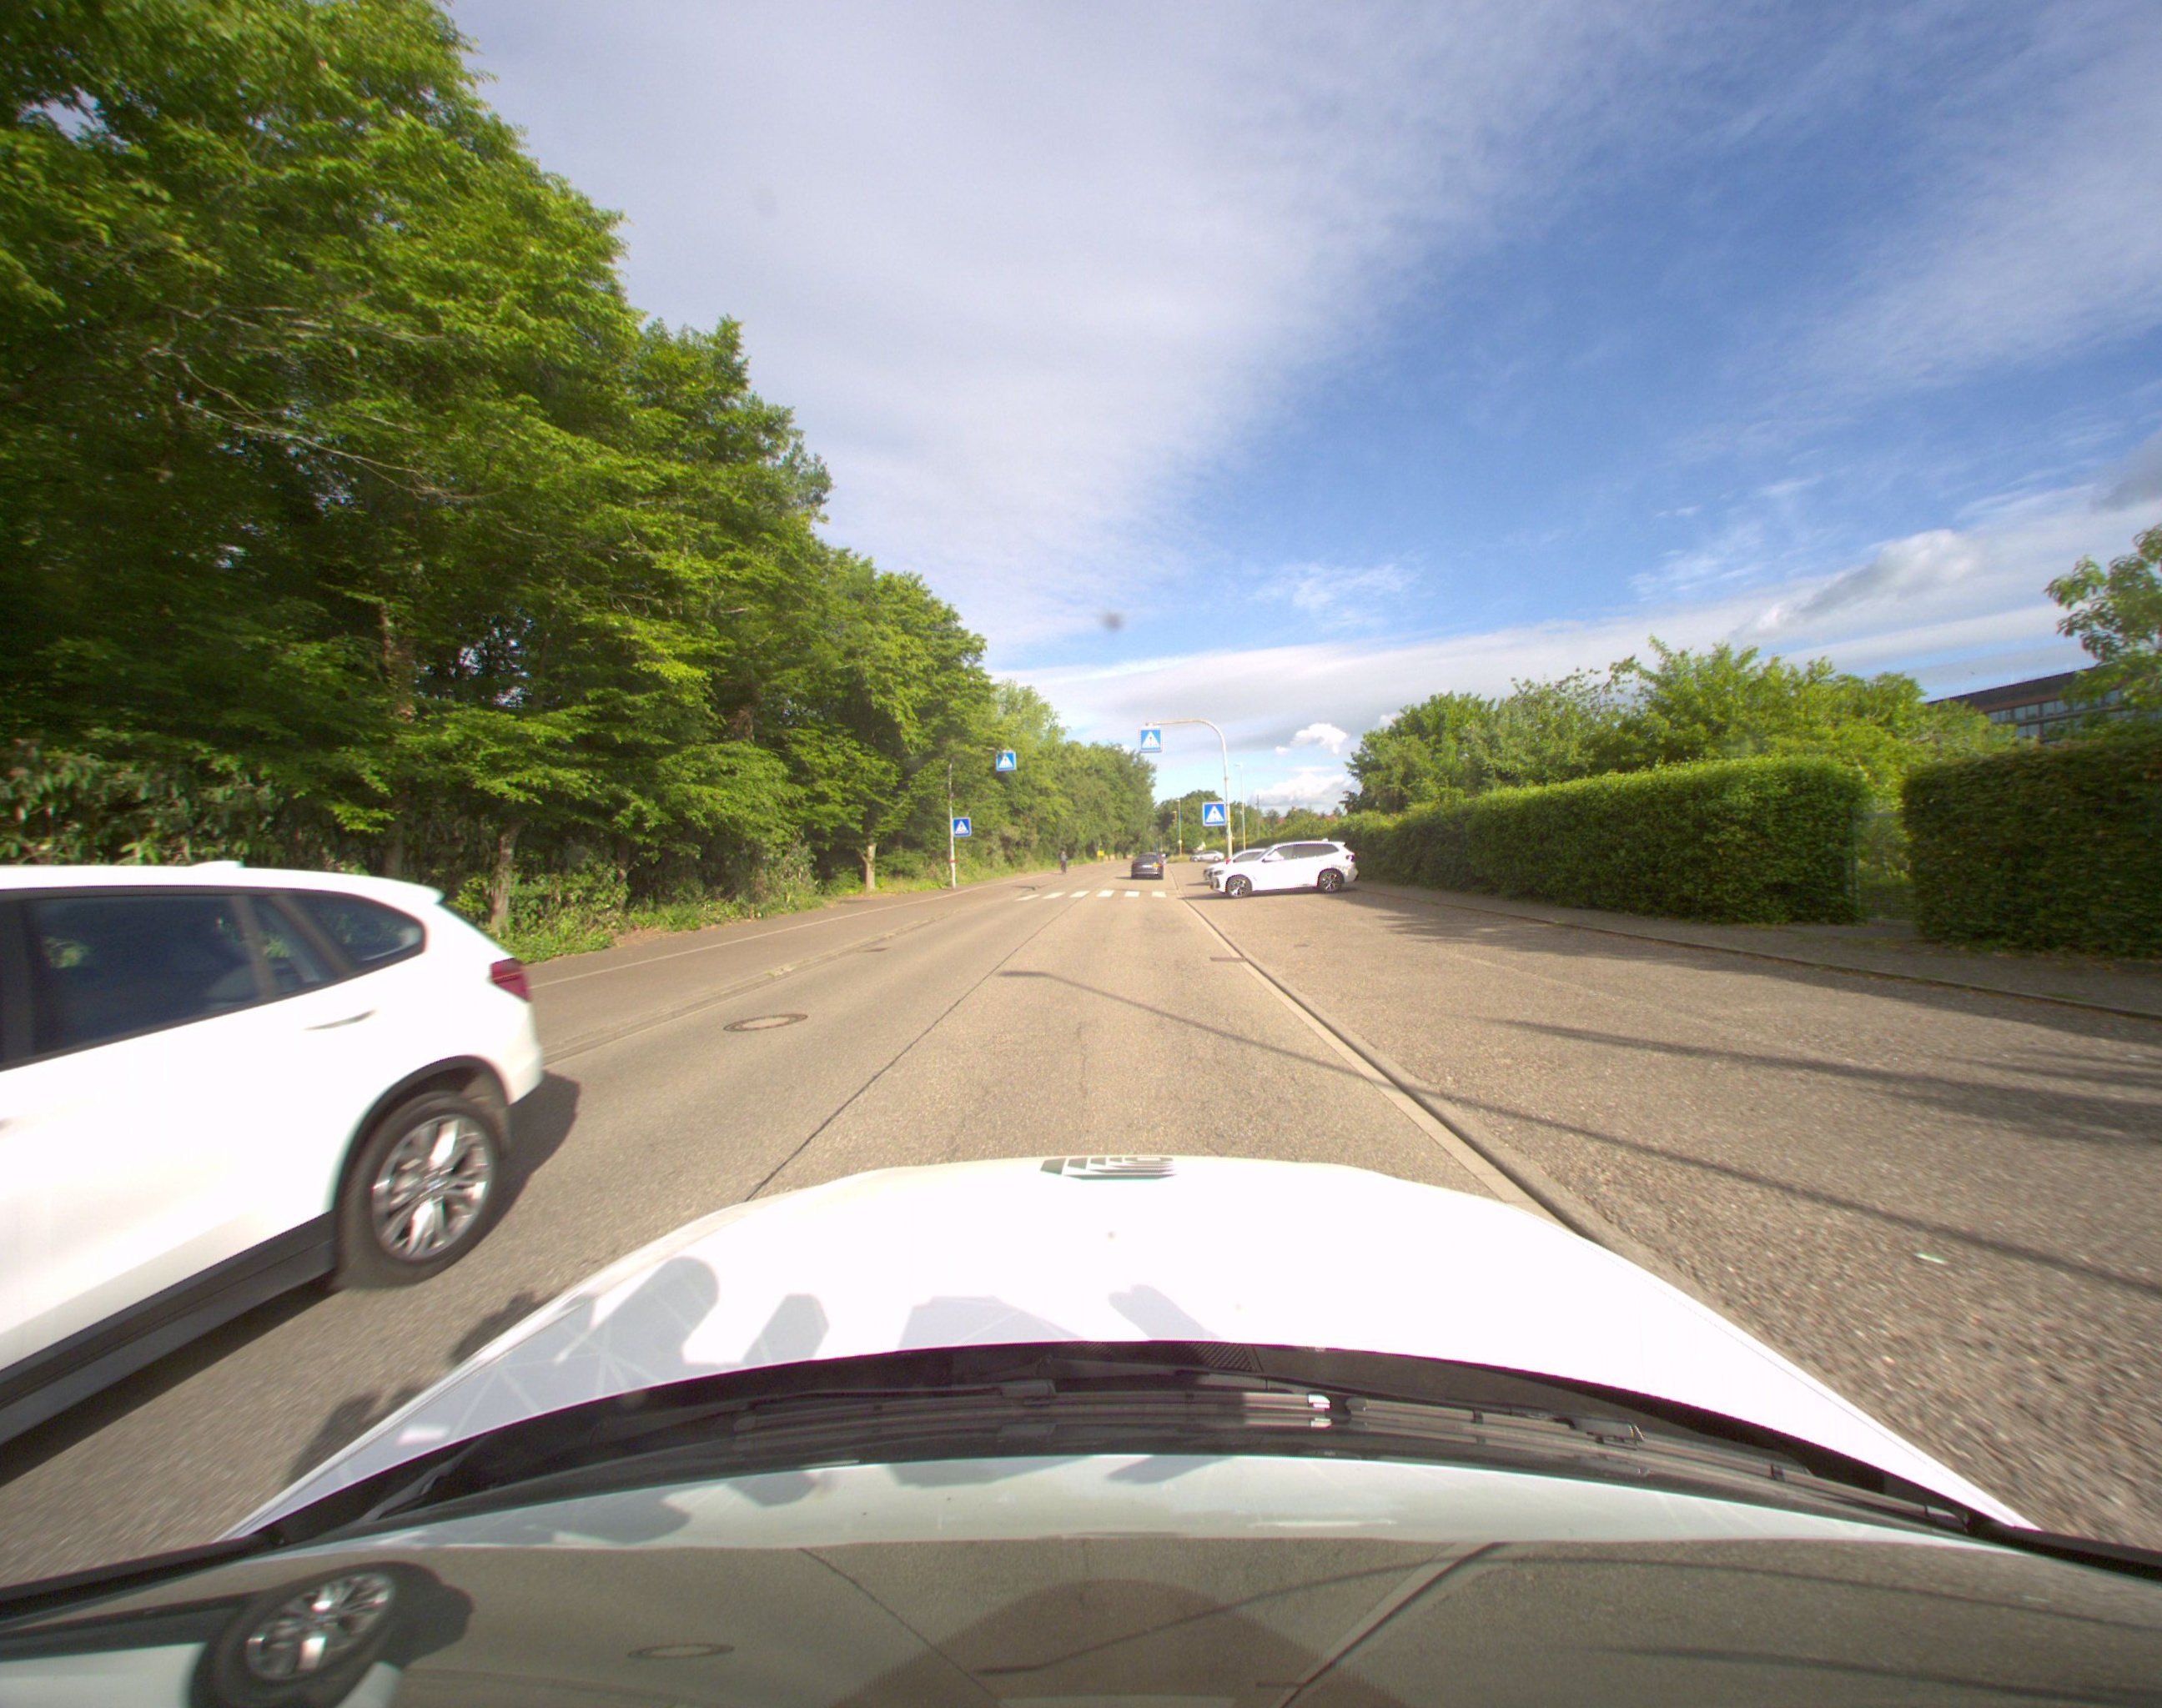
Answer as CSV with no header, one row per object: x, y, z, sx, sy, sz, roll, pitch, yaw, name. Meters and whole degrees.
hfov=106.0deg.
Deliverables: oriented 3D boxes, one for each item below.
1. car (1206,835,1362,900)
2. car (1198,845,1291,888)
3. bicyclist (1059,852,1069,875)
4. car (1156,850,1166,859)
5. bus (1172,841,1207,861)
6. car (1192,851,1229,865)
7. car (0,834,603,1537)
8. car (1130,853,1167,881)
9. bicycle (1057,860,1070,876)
6.438,0.431,26.216,4.565,1.699,1.766,-4,0,5,car
7.395,0.535,37.121,3.840,1.490,1.694,-6,1,3,car
-1.292,0.708,61.061,0.605,1.676,0.885,-2,0,6,bicyclist
13.309,0.048,135.393,1.487,1.366,3.270,-3,1,8,car
17.450,-0.538,131.540,5.343,2.746,2.070,-4,1,2,bus
16.122,0.457,101.543,4.333,1.443,1.939,-4,0,12,car
-3.375,0.809,1.986,1.795,1.585,4.103,-4,0,2,car
3.882,0.712,47.069,1.957,1.434,4.341,-2,1,4,car
-1.296,1.025,61.009,0.659,1.097,2.353,-1,1,6,bicycle
